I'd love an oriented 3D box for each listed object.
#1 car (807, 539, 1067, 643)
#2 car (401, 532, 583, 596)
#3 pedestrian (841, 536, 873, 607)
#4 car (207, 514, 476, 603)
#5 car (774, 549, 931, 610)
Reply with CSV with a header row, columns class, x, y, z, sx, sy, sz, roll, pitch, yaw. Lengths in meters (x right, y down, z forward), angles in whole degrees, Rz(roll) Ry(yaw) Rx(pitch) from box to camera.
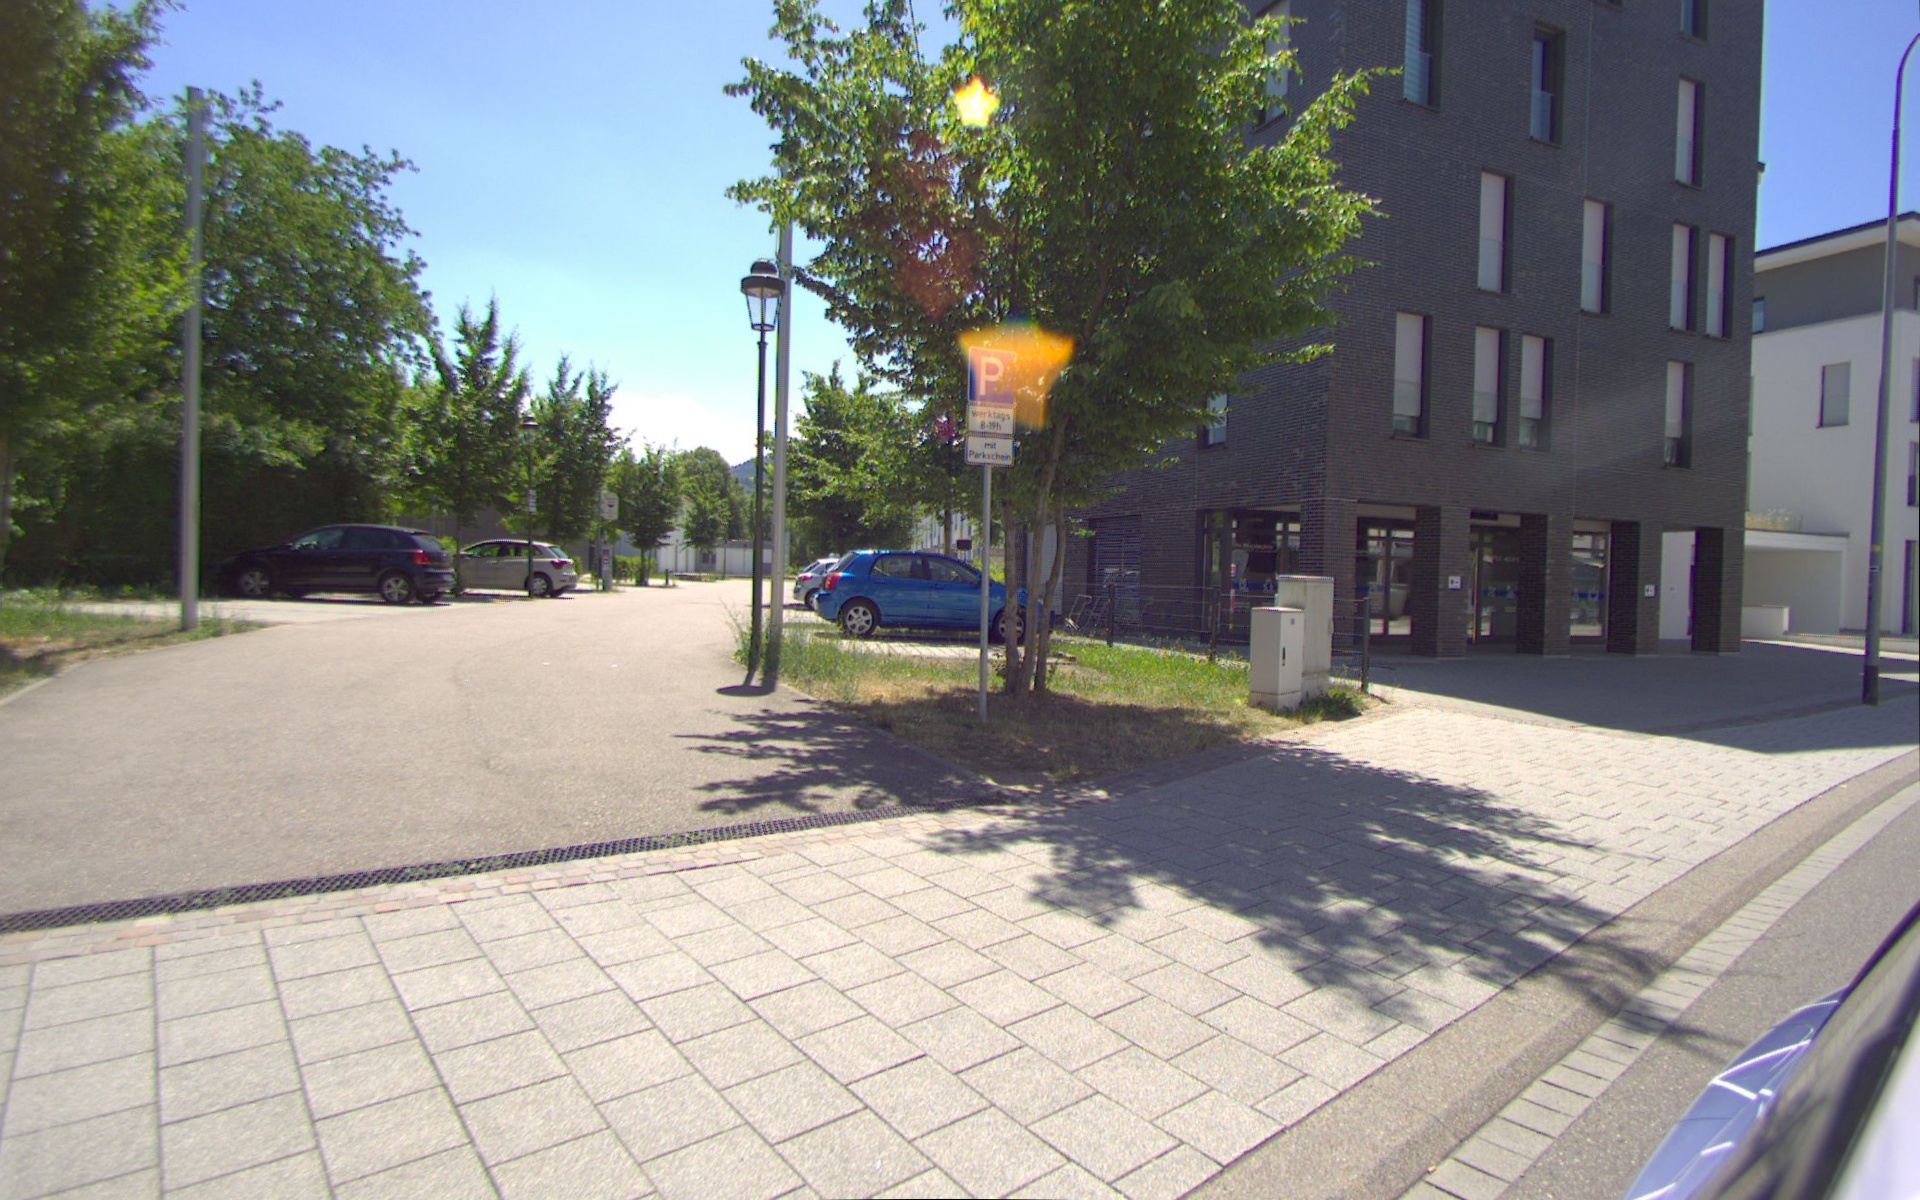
class,x,y,z,sx,sy,sz,roll,pitch,yaw
car,-0.458,-0.148,17.145,4.086,1.459,1.821,3,1,-11
car,-12.053,-0.943,26.301,3.918,1.459,1.880,2,2,-8
pedestrian,-2.689,-0.743,26.425,0.684,1.812,0.638,2,2,-14
car,-11.609,-0.777,19.244,3.919,1.459,1.880,2,2,-7
car,-2.987,-0.588,27.801,4.086,1.459,1.821,2,2,-11
